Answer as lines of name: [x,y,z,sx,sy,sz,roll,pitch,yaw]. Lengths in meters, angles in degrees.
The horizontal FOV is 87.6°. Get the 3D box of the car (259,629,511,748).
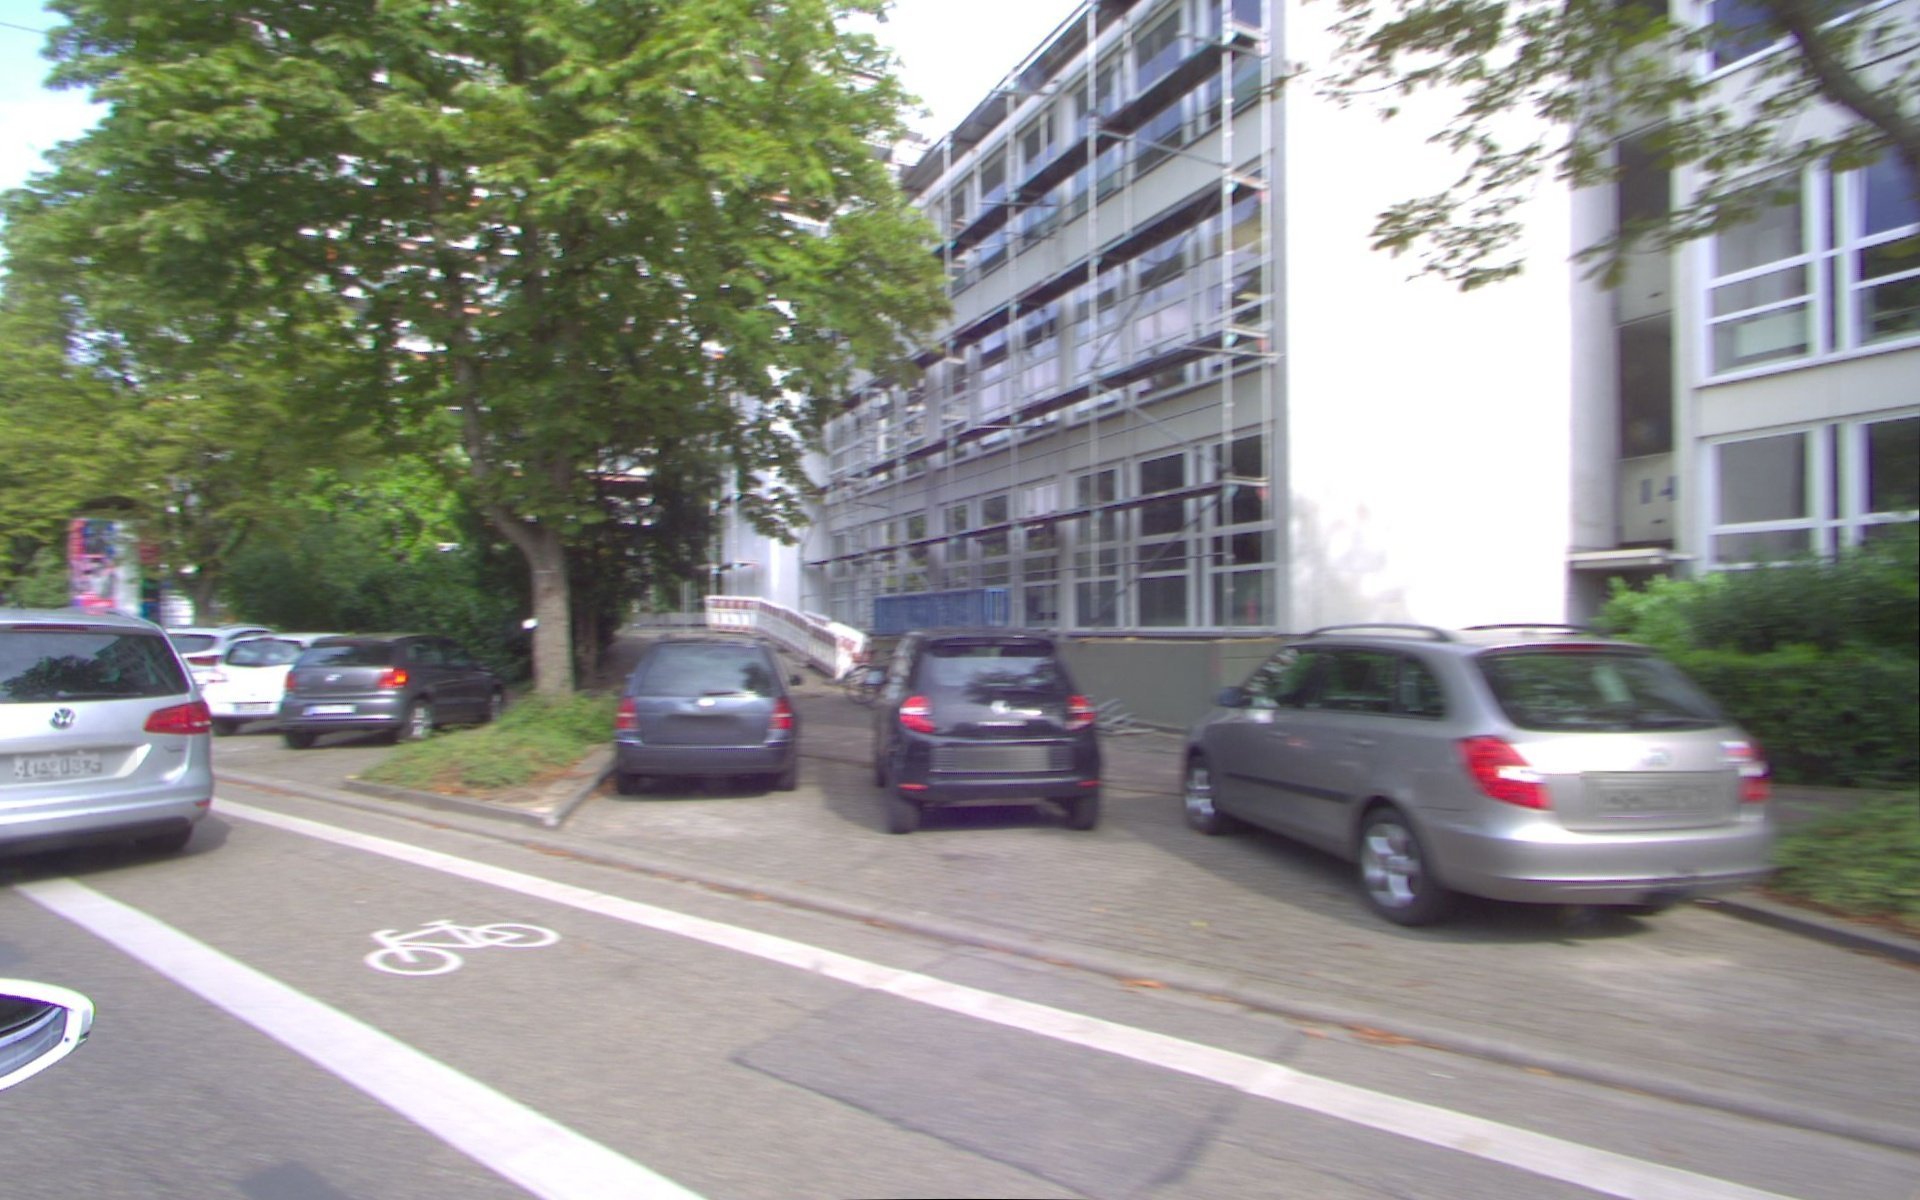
car: [-7.913,1.153,14.192,1.649,1.437,3.648,0,-2,-4]

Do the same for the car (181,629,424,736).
car: [-10.275,1.224,15.989,1.649,1.493,3.648,0,-2,-4]

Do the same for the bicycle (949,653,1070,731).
bicycle: [0.756,1.363,15.090,1.812,1.057,0.452,0,-1,-26]

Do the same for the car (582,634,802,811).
car: [-2.616,1.085,10.444,1.782,1.433,4.168,0,-2,-11]

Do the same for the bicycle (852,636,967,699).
bicycle: [-0.869,1.157,17.530,1.948,1.057,0.592,1,-1,-27]

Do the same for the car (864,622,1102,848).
car: [0.010,0.987,8.716,1.565,1.557,3.417,0,-2,-8]

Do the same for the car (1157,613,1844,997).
car: [2.714,0.909,6.211,1.566,1.557,4.051,0,-2,-10]

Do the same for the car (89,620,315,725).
car: [-13.063,1.193,17.550,1.650,1.623,3.646,0,-2,-10]

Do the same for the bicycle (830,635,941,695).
bicycle: [-1.354,1.165,18.289,1.943,1.057,0.593,0,-1,-18]

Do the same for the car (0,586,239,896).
car: [-7.148,0.826,6.989,4.550,1.722,1.810,-1,-2,31]
